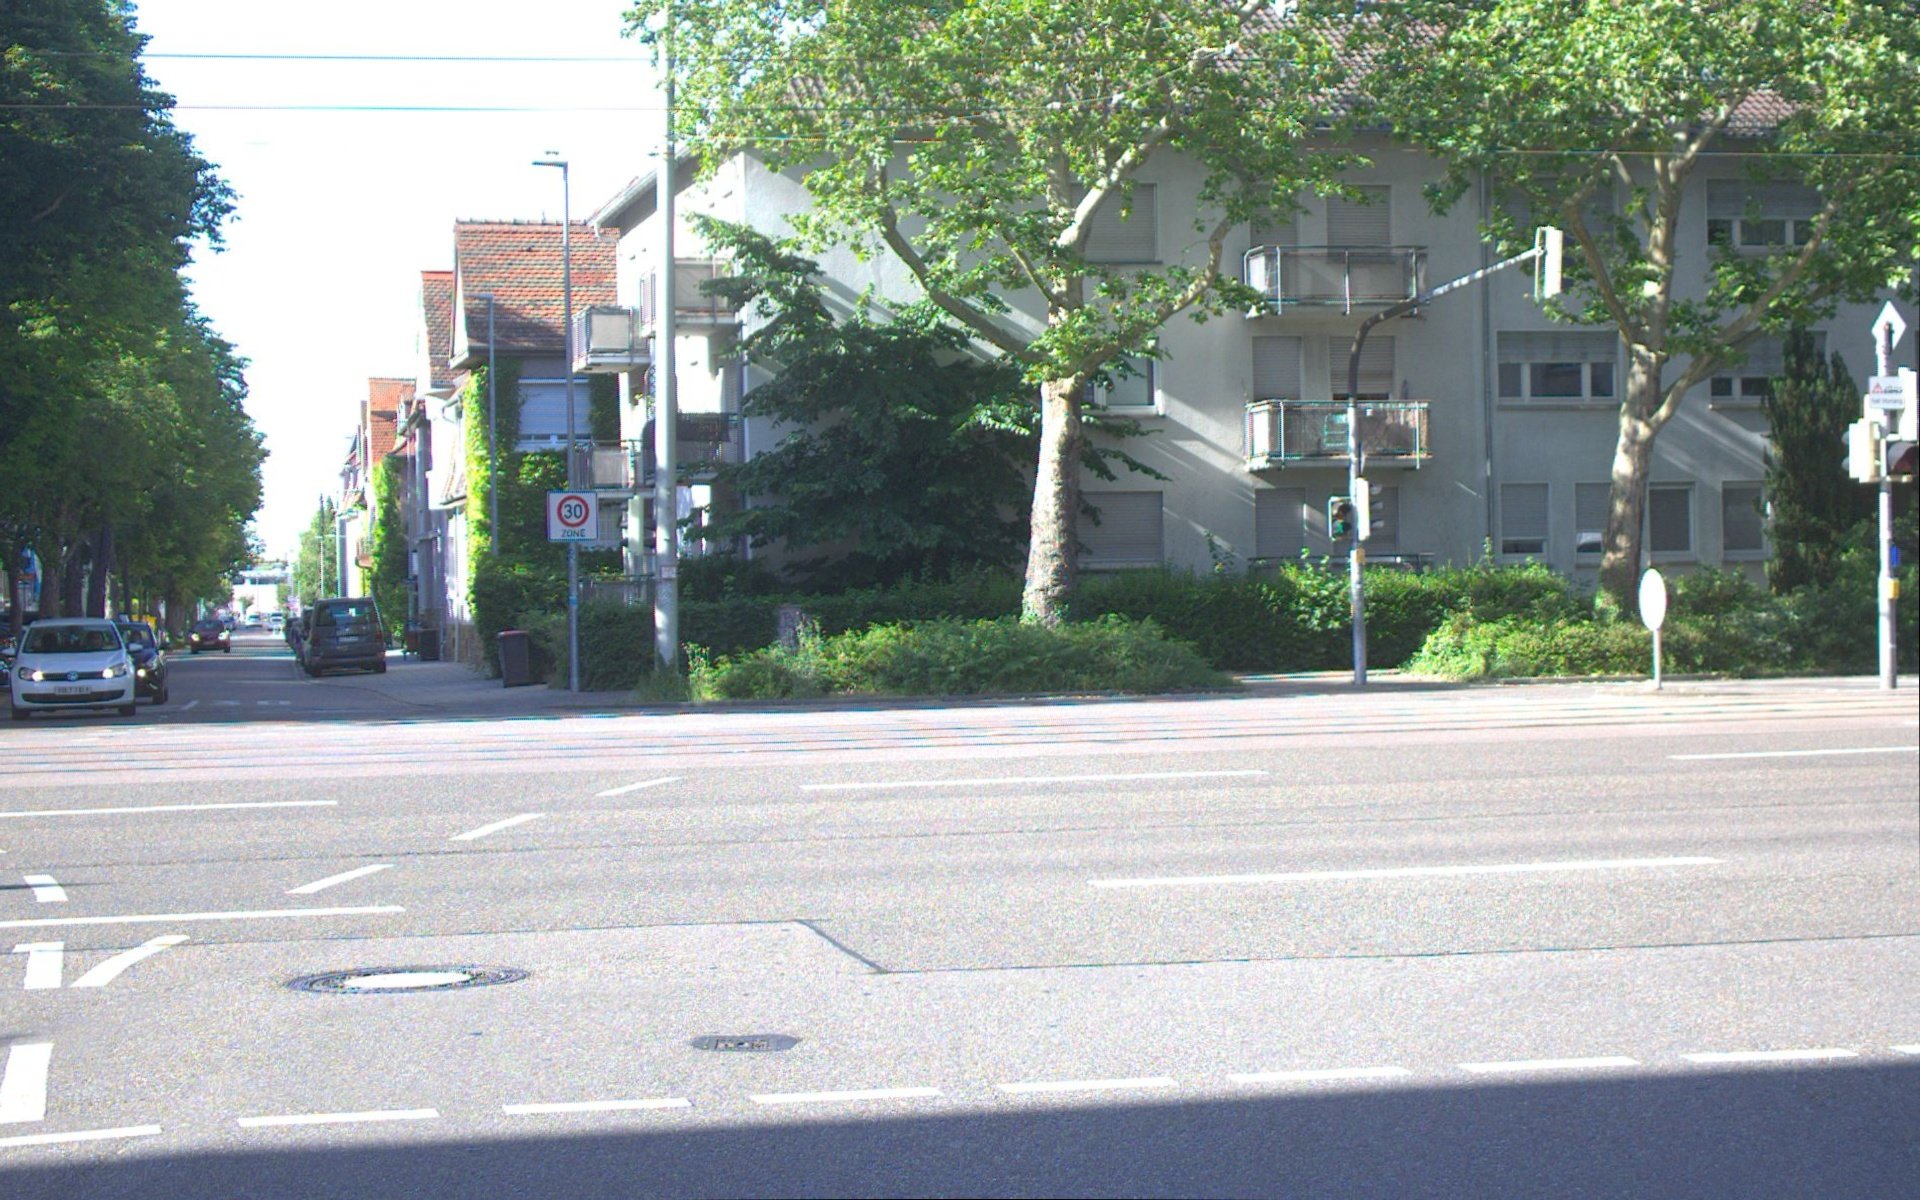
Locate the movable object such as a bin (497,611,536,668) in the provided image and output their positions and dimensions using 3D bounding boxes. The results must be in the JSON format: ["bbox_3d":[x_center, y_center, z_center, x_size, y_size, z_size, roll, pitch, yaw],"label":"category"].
[{"bbox_3d":[-8.548,0.759,66.256,0.597,1.041,0.707,-5,1,-14],"label":"movable object such as a bin"}]

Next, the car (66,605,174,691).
[{"bbox_3d":[-15.045,0.832,61.688,1.660,1.459,3.809,-1,0,-11],"label":"car"}]

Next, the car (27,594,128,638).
[{"bbox_3d":[-36.323,0.666,141.542,3.986,1.755,1.798,1,-1,-15],"label":"car"}]

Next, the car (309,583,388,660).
[{"bbox_3d":[-15.827,0.544,88.863,1.864,1.909,4.783,1,0,-11],"label":"car"}]

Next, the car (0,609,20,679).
[{"bbox_3d":[-22.128,0.941,73.119,3.986,1.477,1.786,0,0,-10],"label":"car"}]

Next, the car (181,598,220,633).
[{"bbox_3d":[-34.489,0.690,156.186,1.640,1.503,3.703,-2,0,-12],"label":"car"}]

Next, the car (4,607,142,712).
[{"bbox_3d":[-13.129,0.880,51.064,1.806,1.453,4.001,-1,-1,-12],"label":"car"}]
